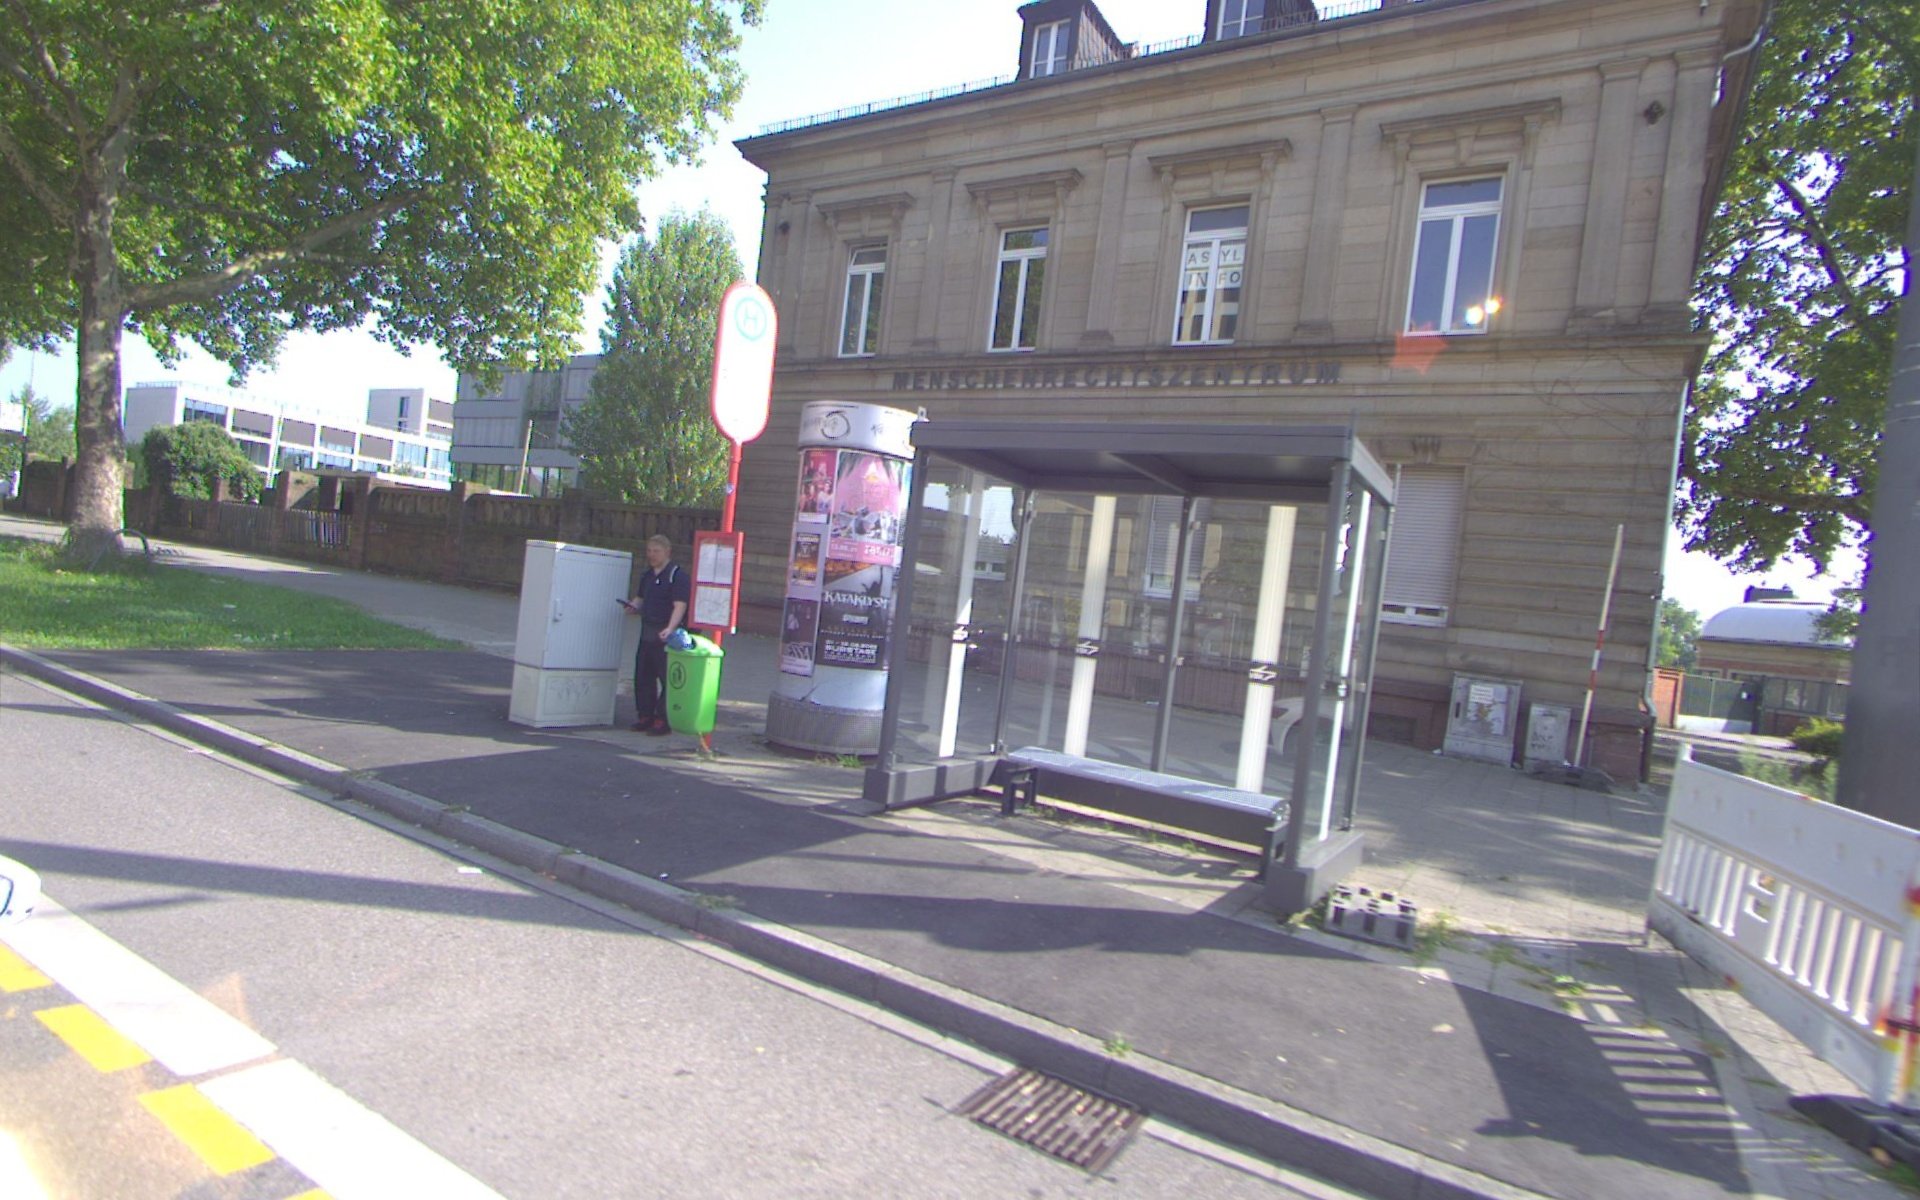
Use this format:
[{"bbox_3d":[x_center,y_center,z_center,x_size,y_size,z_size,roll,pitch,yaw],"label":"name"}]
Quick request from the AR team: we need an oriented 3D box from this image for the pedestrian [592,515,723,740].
[{"bbox_3d":[-2.484,0.217,8.318,0.636,1.718,0.690,7,2,11],"label":"pedestrian"}]

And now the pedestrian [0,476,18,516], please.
[{"bbox_3d":[-40.374,-4.411,42.326,0.931,1.625,0.806,7,3,33],"label":"pedestrian"}]

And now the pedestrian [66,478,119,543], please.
[{"bbox_3d":[-24.869,-2.553,28.829,0.995,1.708,0.819,7,2,32],"label":"pedestrian"}]
